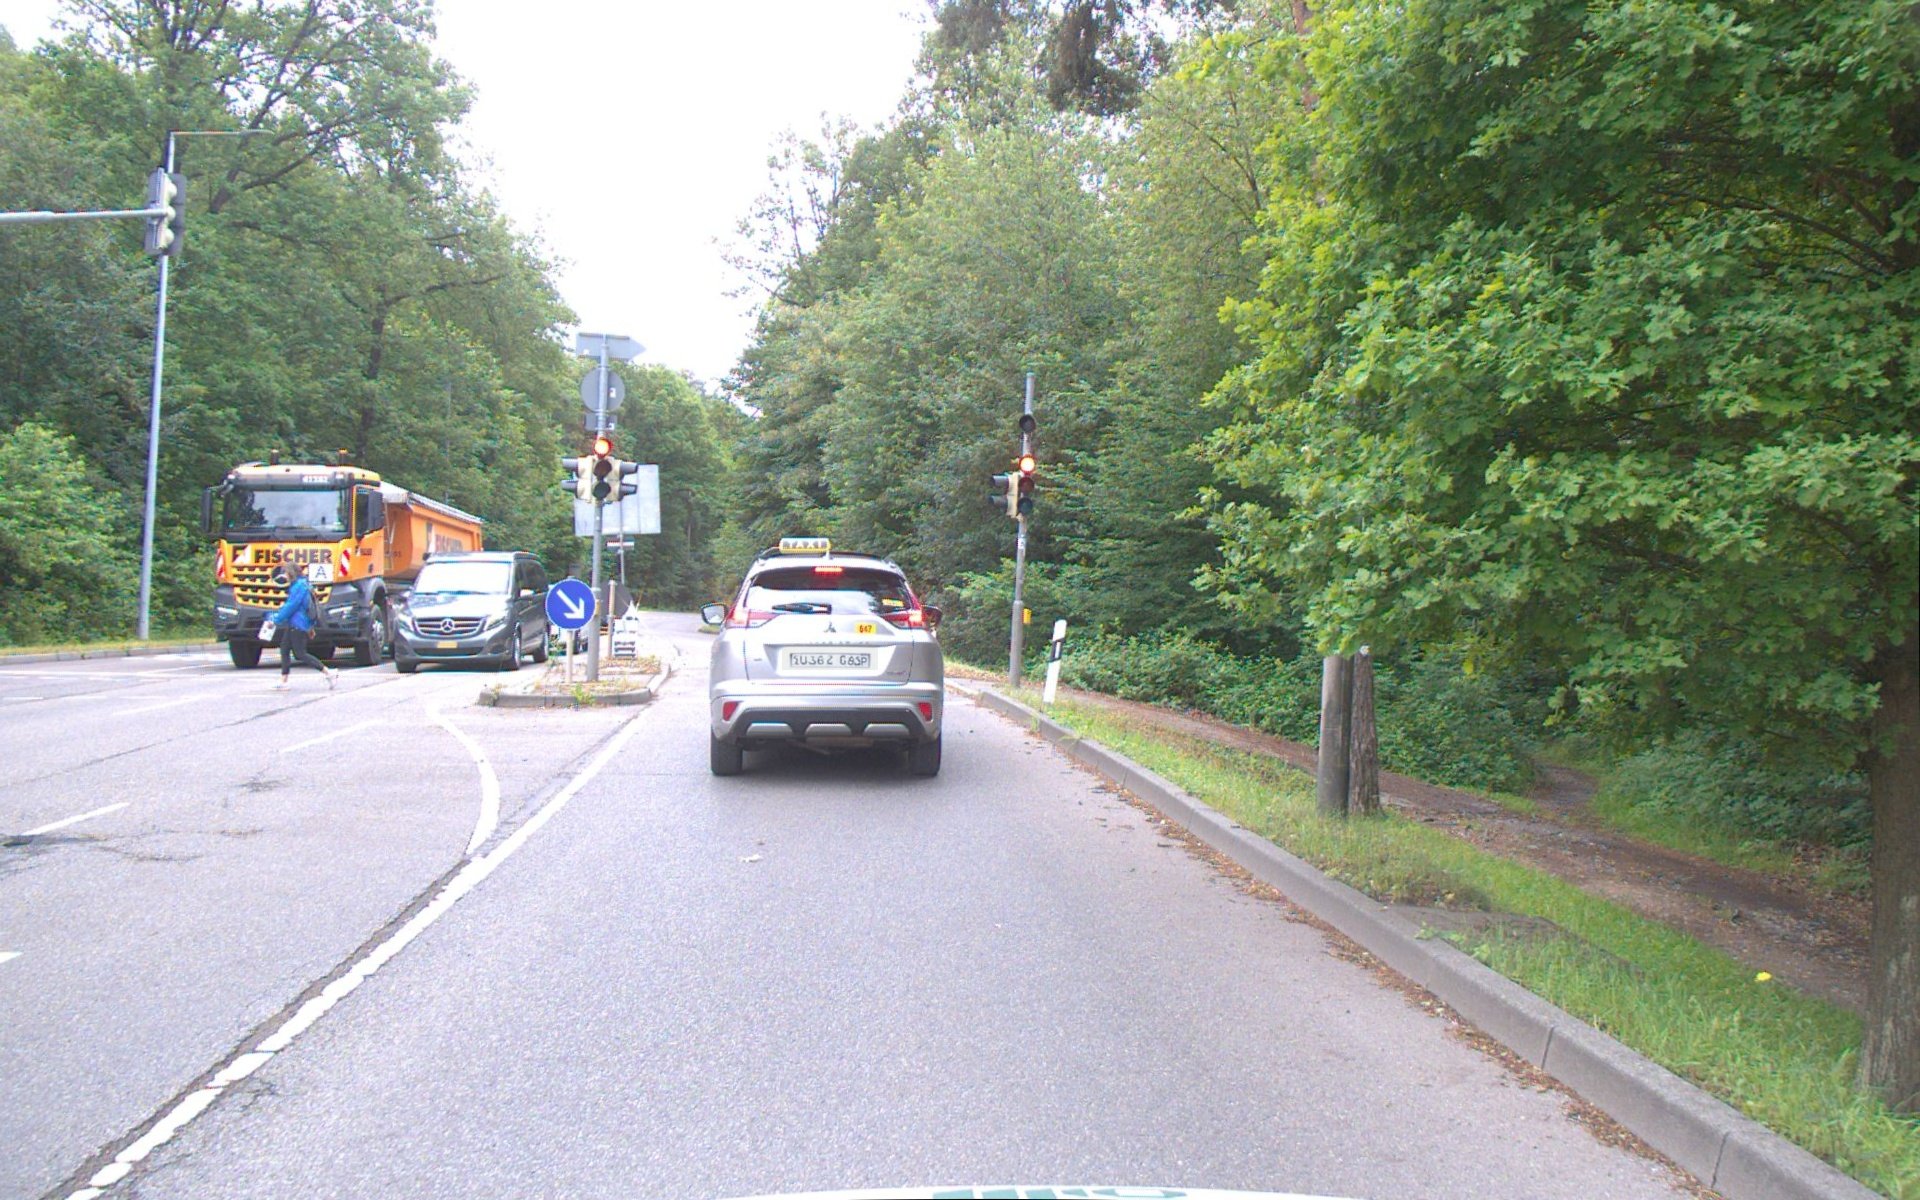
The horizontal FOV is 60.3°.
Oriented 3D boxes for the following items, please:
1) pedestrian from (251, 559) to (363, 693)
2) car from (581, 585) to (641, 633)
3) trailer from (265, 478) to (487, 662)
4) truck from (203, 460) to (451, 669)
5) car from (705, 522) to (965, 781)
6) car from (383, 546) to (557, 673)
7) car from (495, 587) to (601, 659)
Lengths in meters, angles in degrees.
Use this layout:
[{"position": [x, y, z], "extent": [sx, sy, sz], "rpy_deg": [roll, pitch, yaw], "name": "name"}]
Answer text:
[{"position": [-8.443, 0.314, 21.432], "extent": [1.025, 1.677, 1.069], "rpy_deg": [0, 1, 1], "name": "pedestrian"}, {"position": [-11.951, 0.287, 56.852], "extent": [1.778, 1.534, 3.713], "rpy_deg": [-1, 0, -9], "name": "car"}, {"position": [-11.940, -0.532, 34.648], "extent": [2.687, 3.376, 8.553], "rpy_deg": [0, 0, -8], "name": "trailer"}, {"position": [-11.371, -0.555, 30.434], "extent": [2.687, 3.376, 7.147], "rpy_deg": [0, 0, -8], "name": "truck"}, {"position": [-1.116, 0.360, 13.740], "extent": [1.811, 1.811, 3.994], "rpy_deg": [1, 0, -7], "name": "car"}, {"position": [-8.110, 0.136, 27.831], "extent": [1.955, 1.927, 4.832], "rpy_deg": [-1, 0, -6], "name": "car"}, {"position": [-8.692, 0.444, 35.123], "extent": [1.581, 1.344, 3.718], "rpy_deg": [-1, 1, -5], "name": "car"}]
